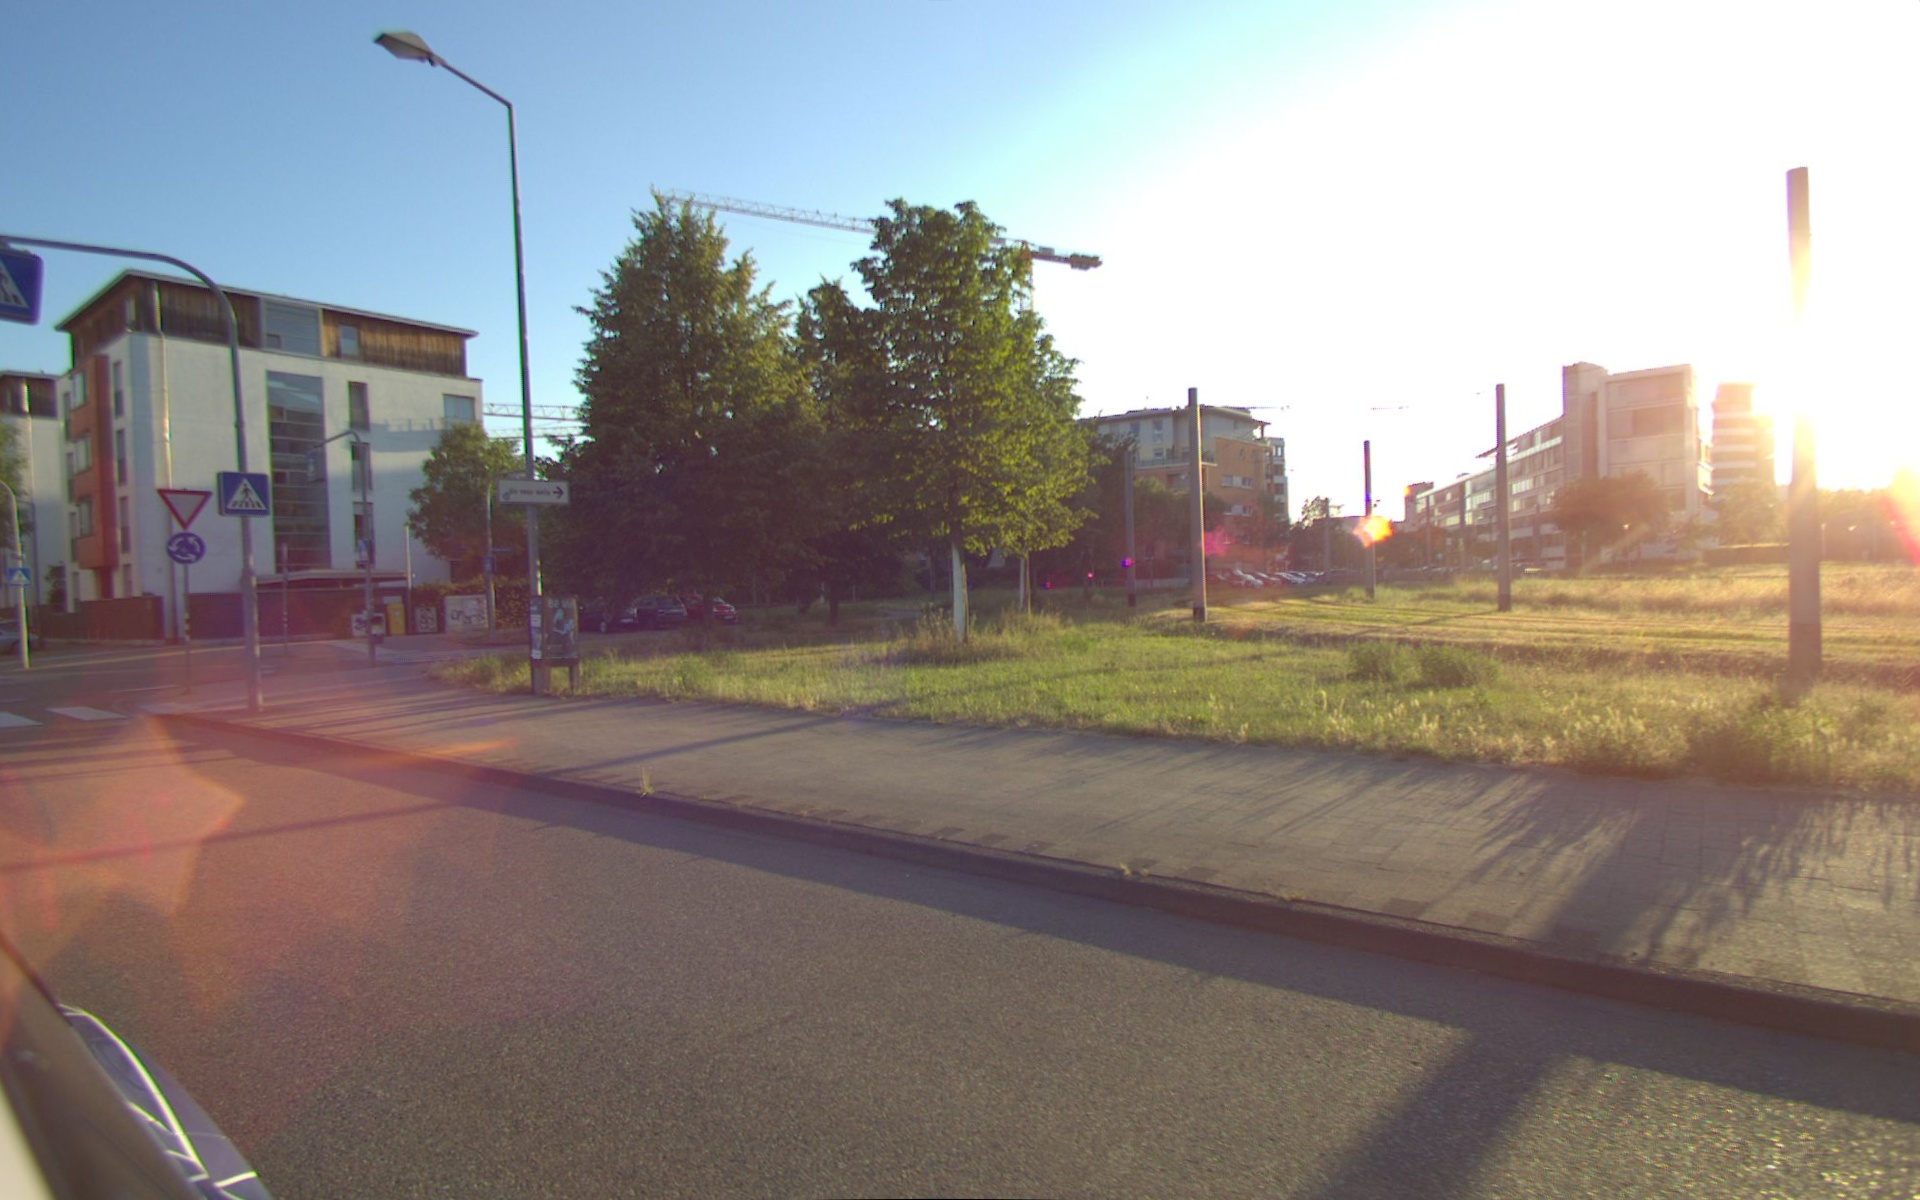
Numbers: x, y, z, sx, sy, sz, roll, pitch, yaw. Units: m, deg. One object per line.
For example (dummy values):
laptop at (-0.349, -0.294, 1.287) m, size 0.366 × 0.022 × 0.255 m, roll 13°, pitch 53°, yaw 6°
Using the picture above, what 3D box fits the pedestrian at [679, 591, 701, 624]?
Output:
pedestrian at (-13.433, 0.375, 50.339) m, size 0.652 × 1.611 × 0.708 m, roll -2°, pitch 2°, yaw 22°

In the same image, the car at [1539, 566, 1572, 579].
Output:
car at (86.408, -4.009, 146.783) m, size 3.874 × 1.625 × 1.681 m, roll -3°, pitch 0°, yaw 38°

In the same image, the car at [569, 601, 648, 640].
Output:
car at (-14.988, 0.854, 43.099) m, size 3.408 × 1.533 × 1.668 m, roll -1°, pitch 1°, yaw 40°

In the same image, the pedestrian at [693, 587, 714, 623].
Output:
pedestrian at (-12.639, 0.250, 49.830) m, size 0.621 × 1.679 × 0.737 m, roll -2°, pitch 2°, yaw 25°

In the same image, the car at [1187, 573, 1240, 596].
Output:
car at (21.094, -1.281, 84.202) m, size 3.871 × 1.707 × 1.683 m, roll -3°, pitch 0°, yaw 35°

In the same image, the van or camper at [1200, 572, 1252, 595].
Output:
van or camper at (22.715, -1.420, 86.385) m, size 3.874 × 1.707 × 1.811 m, roll -3°, pitch 0°, yaw 38°

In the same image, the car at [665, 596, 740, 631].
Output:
car at (-11.773, 0.612, 46.189) m, size 3.408 × 1.511 × 1.573 m, roll -1°, pitch 1°, yaw 40°

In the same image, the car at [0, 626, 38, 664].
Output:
car at (-40.434, 1.984, 40.530) m, size 1.707 × 1.489 × 4.861 m, roll -3°, pitch 2°, yaw 36°

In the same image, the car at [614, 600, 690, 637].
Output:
car at (-13.573, 0.798, 44.549) m, size 3.408 × 1.511 × 1.573 m, roll -1°, pitch 1°, yaw 40°

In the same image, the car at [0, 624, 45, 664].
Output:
car at (-38.376, 1.821, 39.045) m, size 1.677 × 1.468 × 4.243 m, roll -3°, pitch 1°, yaw 36°

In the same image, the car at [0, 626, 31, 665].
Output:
car at (-42.399, 2.080, 42.513) m, size 1.710 × 1.566 × 4.724 m, roll -2°, pitch 2°, yaw 41°
